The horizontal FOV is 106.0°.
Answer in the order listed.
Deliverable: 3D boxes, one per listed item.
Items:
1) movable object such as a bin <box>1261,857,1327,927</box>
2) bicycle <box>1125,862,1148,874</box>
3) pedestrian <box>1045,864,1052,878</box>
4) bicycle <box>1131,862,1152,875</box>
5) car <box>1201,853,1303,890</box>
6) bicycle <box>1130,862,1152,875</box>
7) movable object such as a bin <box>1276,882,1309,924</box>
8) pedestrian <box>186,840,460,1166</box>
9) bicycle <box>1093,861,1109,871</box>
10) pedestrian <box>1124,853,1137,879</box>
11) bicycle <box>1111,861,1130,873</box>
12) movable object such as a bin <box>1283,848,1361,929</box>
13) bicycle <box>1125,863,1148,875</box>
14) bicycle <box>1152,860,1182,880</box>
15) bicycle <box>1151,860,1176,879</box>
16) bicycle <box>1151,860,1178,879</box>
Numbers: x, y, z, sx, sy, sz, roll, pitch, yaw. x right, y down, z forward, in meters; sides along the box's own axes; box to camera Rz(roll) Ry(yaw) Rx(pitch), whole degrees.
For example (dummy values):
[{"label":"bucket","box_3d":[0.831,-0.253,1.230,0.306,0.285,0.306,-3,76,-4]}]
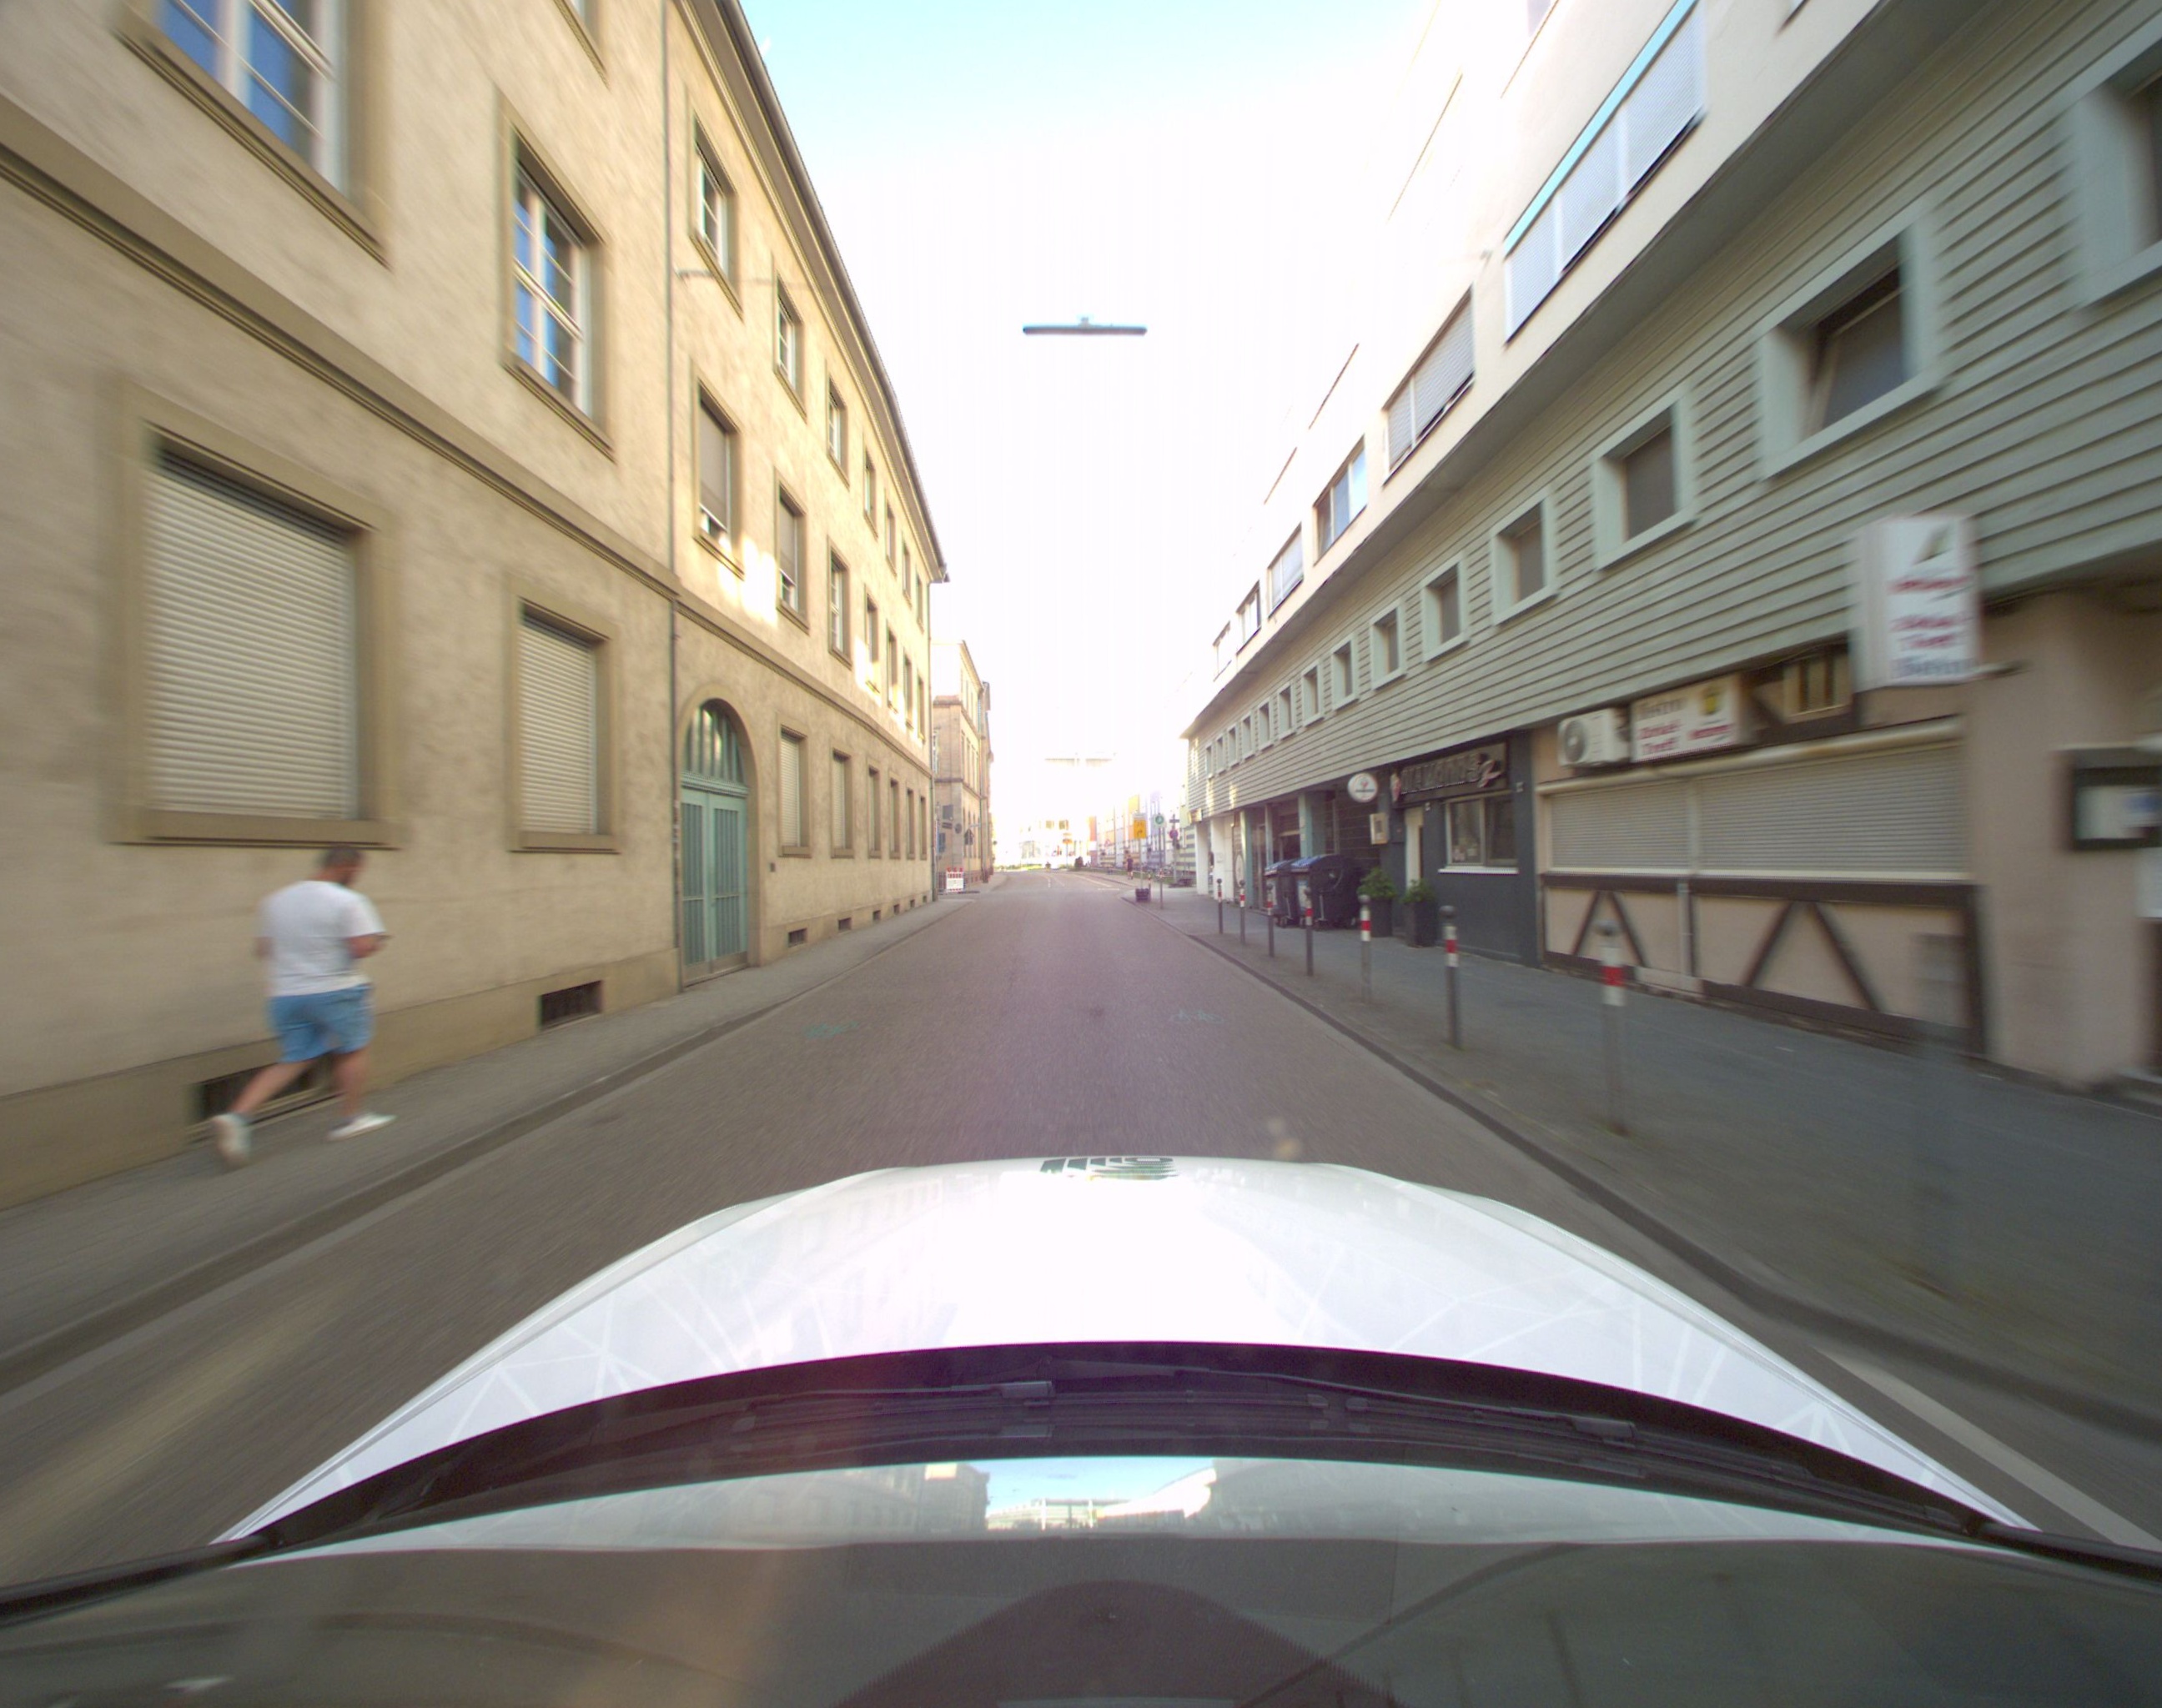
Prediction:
[{"label":"movable object such as a bin","box_3d":[4.587,0.819,17.612,0.978,1.385,1.319,-3,-3,-1]},{"label":"bicycle","box_3d":[4.535,1.142,66.569,1.745,0.946,0.551,-3,-1,-4]},{"label":"pedestrian","box_3d":[-4.578,2.363,114.457,0.896,2.014,0.750,-2,-1,-12]},{"label":"bicycle","box_3d":[5.053,1.208,68.145,1.745,0.946,0.334,-3,-1,-4]},{"label":"car","box_3d":[7.599,0.755,36.357,4.070,1.482,1.863,-2,-1,-4]},{"label":"bicycle","box_3d":[4.990,1.200,67.616,1.744,0.946,0.325,-3,-1,-4]},{"label":"movable object such as a bin","box_3d":[4.842,1.114,18.628,0.555,0.899,0.522,-3,-3,-2]},{"label":"pedestrian","box_3d":[-4.234,0.769,4.632,0.690,1.670,0.875,0,-1,0]},{"label":"bicycle","box_3d":[2.333,1.423,96.634,1.753,1.004,0.611,-3,-1,-9]},{"label":"pedestrian","box_3d":[3.508,0.865,58.148,0.695,1.760,1.187,-4,0,-4]},{"label":"bicycle","box_3d":[3.983,1.292,82.501,1.808,1.137,0.551,-2,-1,-6]},{"label":"movable object such as a bin","box_3d":[4.726,0.685,16.094,0.978,1.480,1.550,-3,-3,-1]},{"label":"bicycle","box_3d":[4.512,1.206,65.901,1.745,0.946,0.551,-3,-1,-4]},{"label":"bicycle","box_3d":[5.461,1.013,51.966,1.745,1.141,0.551,-5,0,-4]},{"label":"bicycle","box_3d":[5.432,1.023,53.632,1.604,1.141,0.236,-5,0,-13]},{"label":"bicycle","box_3d":[5.487,1.018,53.363,1.642,1.141,0.282,-5,0,-13]}]
